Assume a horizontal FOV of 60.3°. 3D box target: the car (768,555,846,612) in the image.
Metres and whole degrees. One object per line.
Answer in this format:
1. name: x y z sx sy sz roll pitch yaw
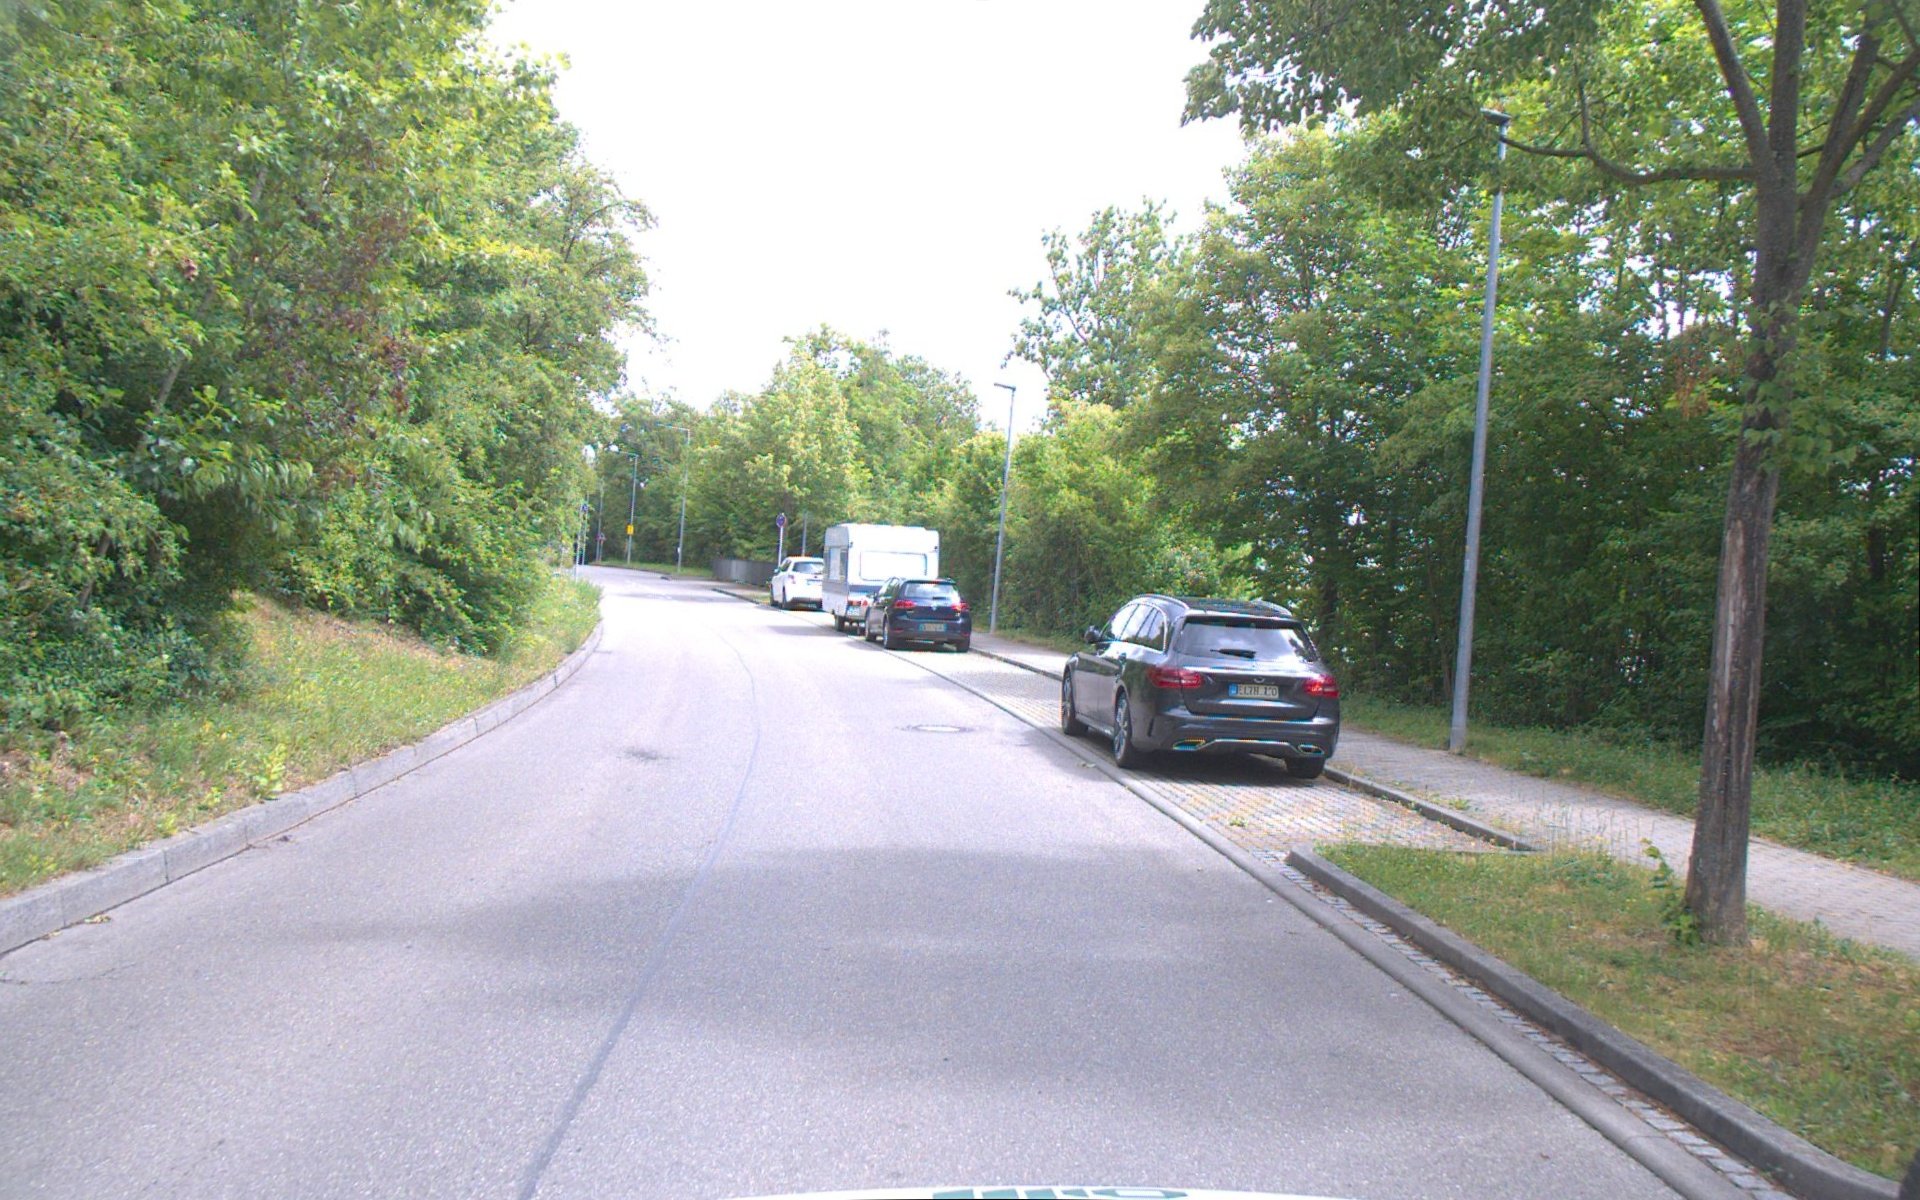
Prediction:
1. car: -4.895 -0.561 52.465 1.774 1.627 4.356 2 2 -14

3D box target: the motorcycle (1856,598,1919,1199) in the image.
1. motorcycle: 3.055 0.778 3.158 2.259 1.501 0.975 1 0 24

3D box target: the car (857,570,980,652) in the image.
1. car: -0.937 0.176 34.489 1.653 1.476 4.466 3 1 -13

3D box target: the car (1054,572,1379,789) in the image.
1. car: 2.150 0.598 15.229 1.856 1.556 4.542 3 1 -5

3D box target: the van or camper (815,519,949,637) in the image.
1. van or camper: -1.979 -0.562 40.118 2.314 2.598 5.059 2 1 -13
